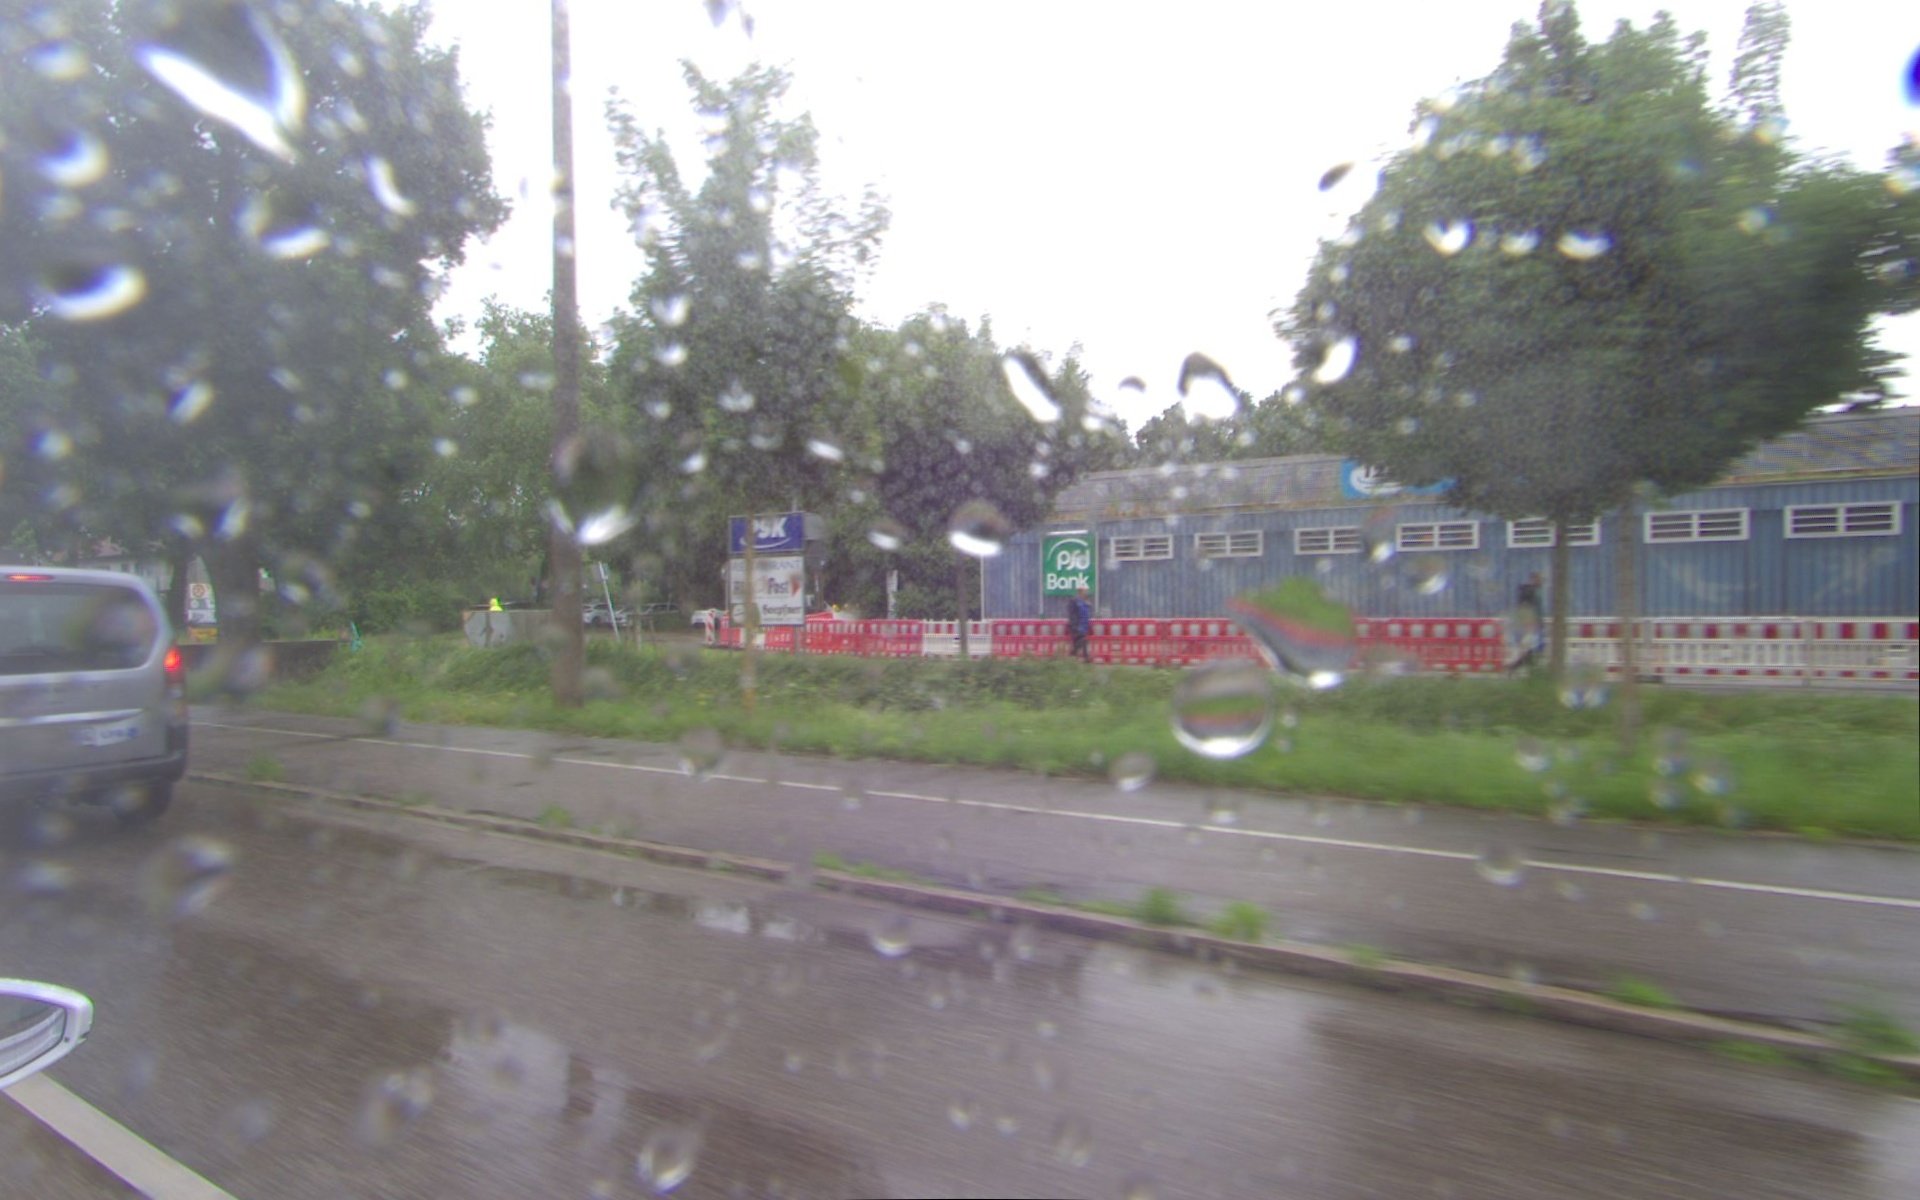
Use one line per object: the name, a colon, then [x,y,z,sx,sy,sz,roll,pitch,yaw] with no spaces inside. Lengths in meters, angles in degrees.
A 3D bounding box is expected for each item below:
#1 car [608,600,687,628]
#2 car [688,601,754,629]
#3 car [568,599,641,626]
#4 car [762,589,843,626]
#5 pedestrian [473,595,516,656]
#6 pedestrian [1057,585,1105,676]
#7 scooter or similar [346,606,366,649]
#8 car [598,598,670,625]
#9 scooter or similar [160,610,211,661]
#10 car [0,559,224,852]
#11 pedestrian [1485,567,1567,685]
car: [-19.211,0.890,61.740,1.897,1.651,4.581,-1,-2,30]
car: [-14.094,0.916,59.209,1.696,1.617,3.650,-1,-2,33]
car: [-23.151,0.848,65.391,1.893,1.603,4.591,-1,-2,22]
car: [-8.900,0.474,56.755,4.147,1.989,1.911,1,-2,-39]
pedestrian: [-13.525,0.743,29.087,0.658,1.702,0.786,-1,4,24]
pedestrian: [2.608,0.656,21.590,0.863,1.920,0.578,-1,-1,30]
scooter or similar: [-17.113,0.767,28.377,0.552,1.192,0.284,0,1,37]
car: [-20.816,0.795,64.062,1.893,1.603,4.591,-1,-2,22]
scooter or similar: [-19.587,0.893,25.335,0.317,1.246,0.954,0,1,35]
car: [-7.746,0.699,7.609,4.497,1.819,1.990,-1,-1,32]
pedestrian: [9.761,0.451,17.292,1.194,1.960,0.812,-1,-1,30]
